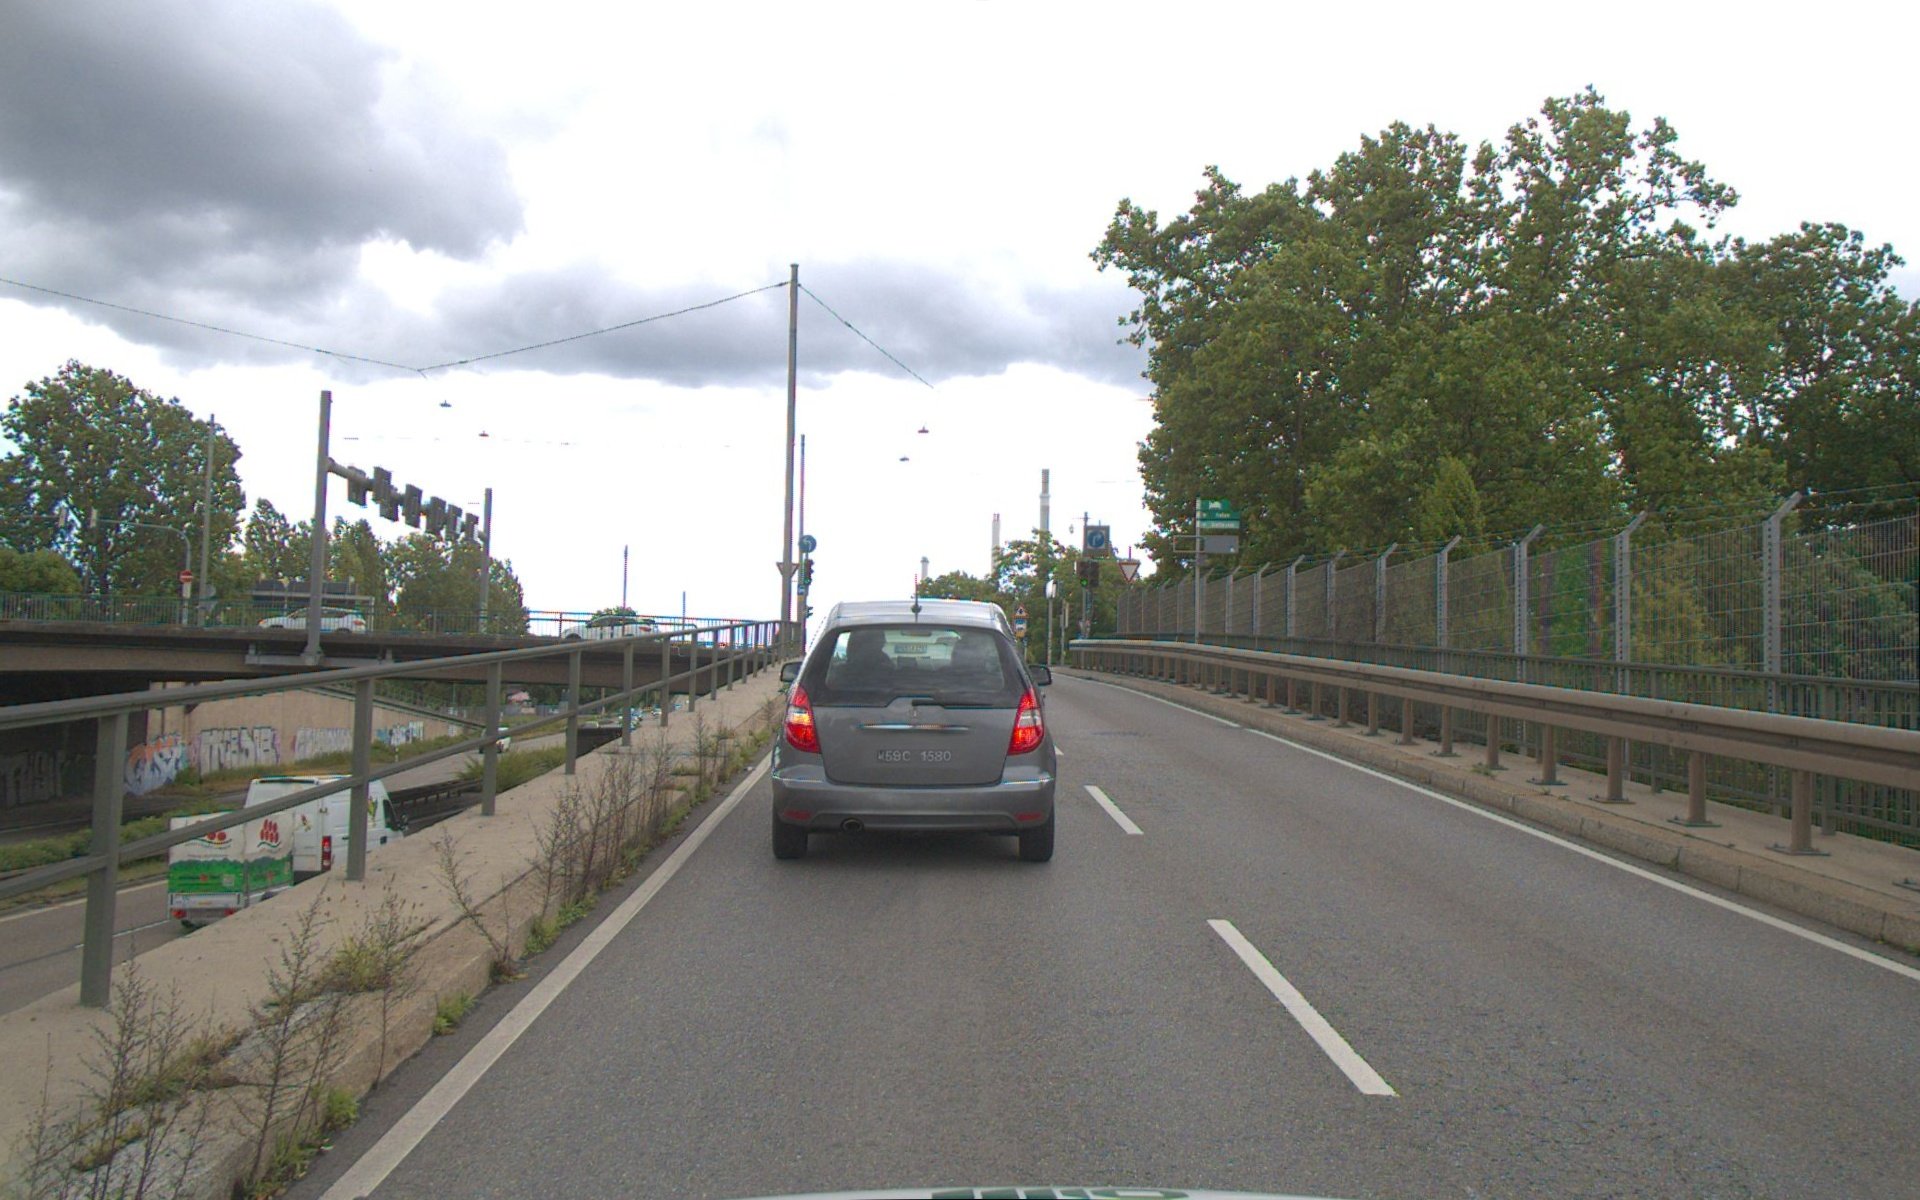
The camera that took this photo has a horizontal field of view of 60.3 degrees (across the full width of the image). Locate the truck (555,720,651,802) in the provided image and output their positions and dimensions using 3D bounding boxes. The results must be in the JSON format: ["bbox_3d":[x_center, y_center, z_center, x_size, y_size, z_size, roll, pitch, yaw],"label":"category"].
[{"bbox_3d":[-15.886,7.108,74.127,2.690,3.351,7.438,1,-4,-1],"label":"truck"}]

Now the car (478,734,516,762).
[{"bbox_3d":[-38.110,12.173,136.241,1.954,2.103,5.171,1,-4,-5],"label":"car"}]

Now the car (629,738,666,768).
[{"bbox_3d":[-23.576,11.546,125.030,1.860,2.038,4.956,1,-4,-1],"label":"car"}]

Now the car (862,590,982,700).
[{"bbox_3d":[-0.732,0.755,28.856,1.893,1.747,4.402,1,-1,-4],"label":"car"}]

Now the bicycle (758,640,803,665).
[{"bbox_3d":[-8.552,2.485,78.690,1.998,1.144,0.926,1,-1,-14],"label":"bicycle"}]

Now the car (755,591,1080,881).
[{"bbox_3d":[-0.263,0.789,11.399,1.820,1.616,3.999,1,0,-1],"label":"car"}]

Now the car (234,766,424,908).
[{"bbox_3d":[-14.016,5.201,37.193,1.953,2.732,5.930,1,-4,-1],"label":"car"}]

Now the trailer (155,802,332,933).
[{"bbox_3d":[-13.904,5.158,32.334,1.694,2.167,3.934,1,-4,-1],"label":"trailer"}]

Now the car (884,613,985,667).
[{"bbox_3d":[-0.918,1.338,56.466,1.908,1.747,3.965,1,-1,-27],"label":"car"}]

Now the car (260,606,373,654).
[{"bbox_3d":[-26.950,1.265,69.409,4.128,1.903,1.993,1,-1,-14],"label":"car"}]

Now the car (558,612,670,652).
[{"bbox_3d":[-14.578,1.337,69.712,4.240,1.604,1.840,1,-1,17],"label":"car"}]
